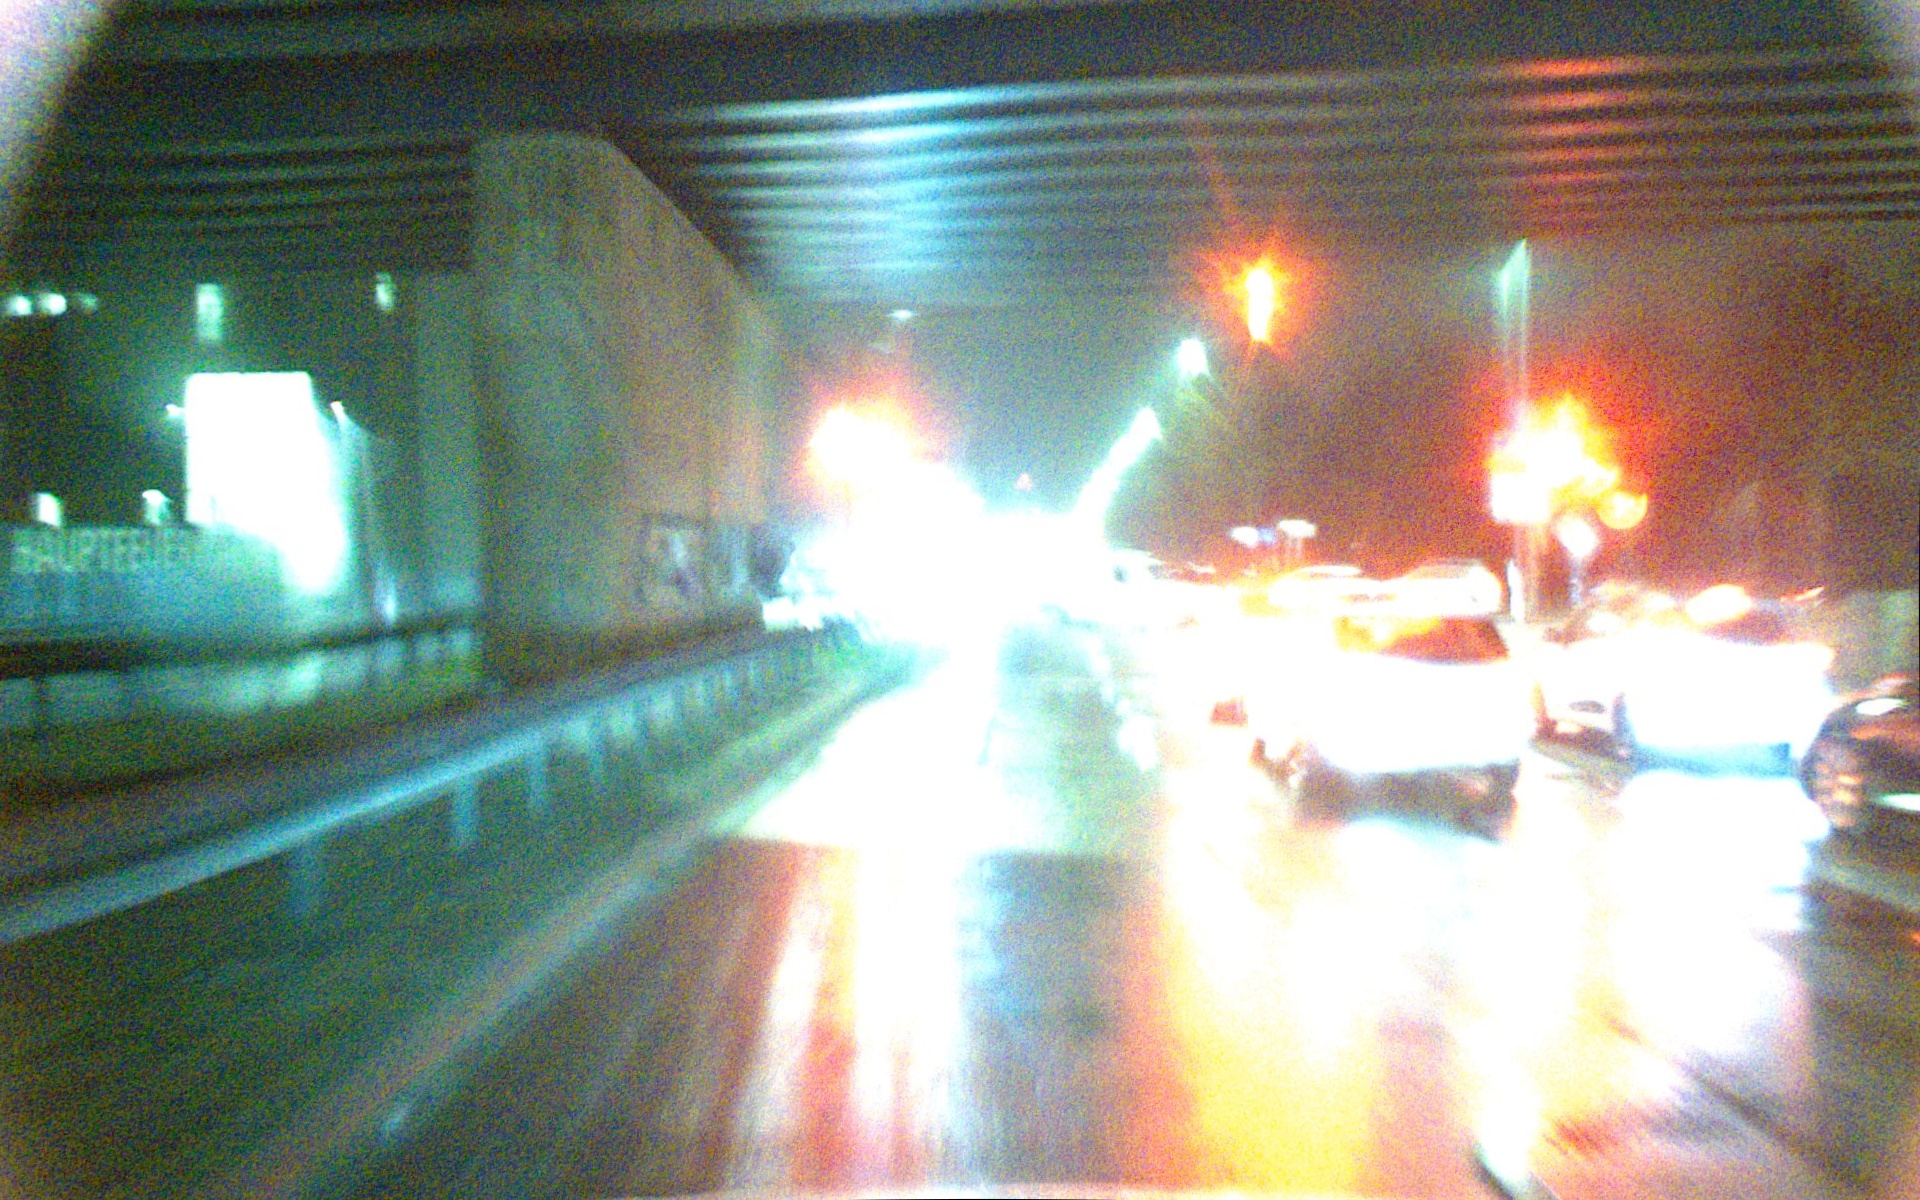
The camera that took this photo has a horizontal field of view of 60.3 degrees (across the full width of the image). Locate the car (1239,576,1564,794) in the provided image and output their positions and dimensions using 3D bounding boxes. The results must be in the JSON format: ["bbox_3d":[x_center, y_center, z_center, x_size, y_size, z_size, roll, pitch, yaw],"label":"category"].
[{"bbox_3d":[3.341,0.544,13.290,1.684,1.472,4.164,0,1,3],"label":"car"}]

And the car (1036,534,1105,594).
[{"bbox_3d":[4.190,-1.359,63.482,2.390,2.232,5.080,0,1,1],"label":"car"}]

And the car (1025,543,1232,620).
[{"bbox_3d":[4.116,-0.465,40.652,4.734,1.800,1.833,1,1,31],"label":"car"}]

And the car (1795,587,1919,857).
[{"bbox_3d":[6.245,0.708,8.487,1.684,1.513,4.789,-1,1,3],"label":"car"}]

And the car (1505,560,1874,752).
[{"bbox_3d":[6.439,0.414,15.132,1.684,1.471,4.164,-2,1,3],"label":"car"}]

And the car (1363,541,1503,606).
[{"bbox_3d":[15.474,-0.875,54.079,4.205,2.049,2.045,1,1,23],"label":"car"}]

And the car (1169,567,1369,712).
[{"bbox_3d":[3.494,0.377,19.406,1.684,1.471,4.385,-2,1,3],"label":"car"}]

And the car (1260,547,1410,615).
[{"bbox_3d":[11.646,-0.599,51.358,4.207,2.049,2.044,1,1,24],"label":"car"}]

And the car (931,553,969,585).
[{"bbox_3d":[-0.568,-1.641,88.968,1.864,1.646,4.512,0,1,-3],"label":"car"}]

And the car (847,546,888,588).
[{"bbox_3d":[-4.008,-1.407,71.726,1.683,1.764,3.763,0,1,-3],"label":"car"}]
